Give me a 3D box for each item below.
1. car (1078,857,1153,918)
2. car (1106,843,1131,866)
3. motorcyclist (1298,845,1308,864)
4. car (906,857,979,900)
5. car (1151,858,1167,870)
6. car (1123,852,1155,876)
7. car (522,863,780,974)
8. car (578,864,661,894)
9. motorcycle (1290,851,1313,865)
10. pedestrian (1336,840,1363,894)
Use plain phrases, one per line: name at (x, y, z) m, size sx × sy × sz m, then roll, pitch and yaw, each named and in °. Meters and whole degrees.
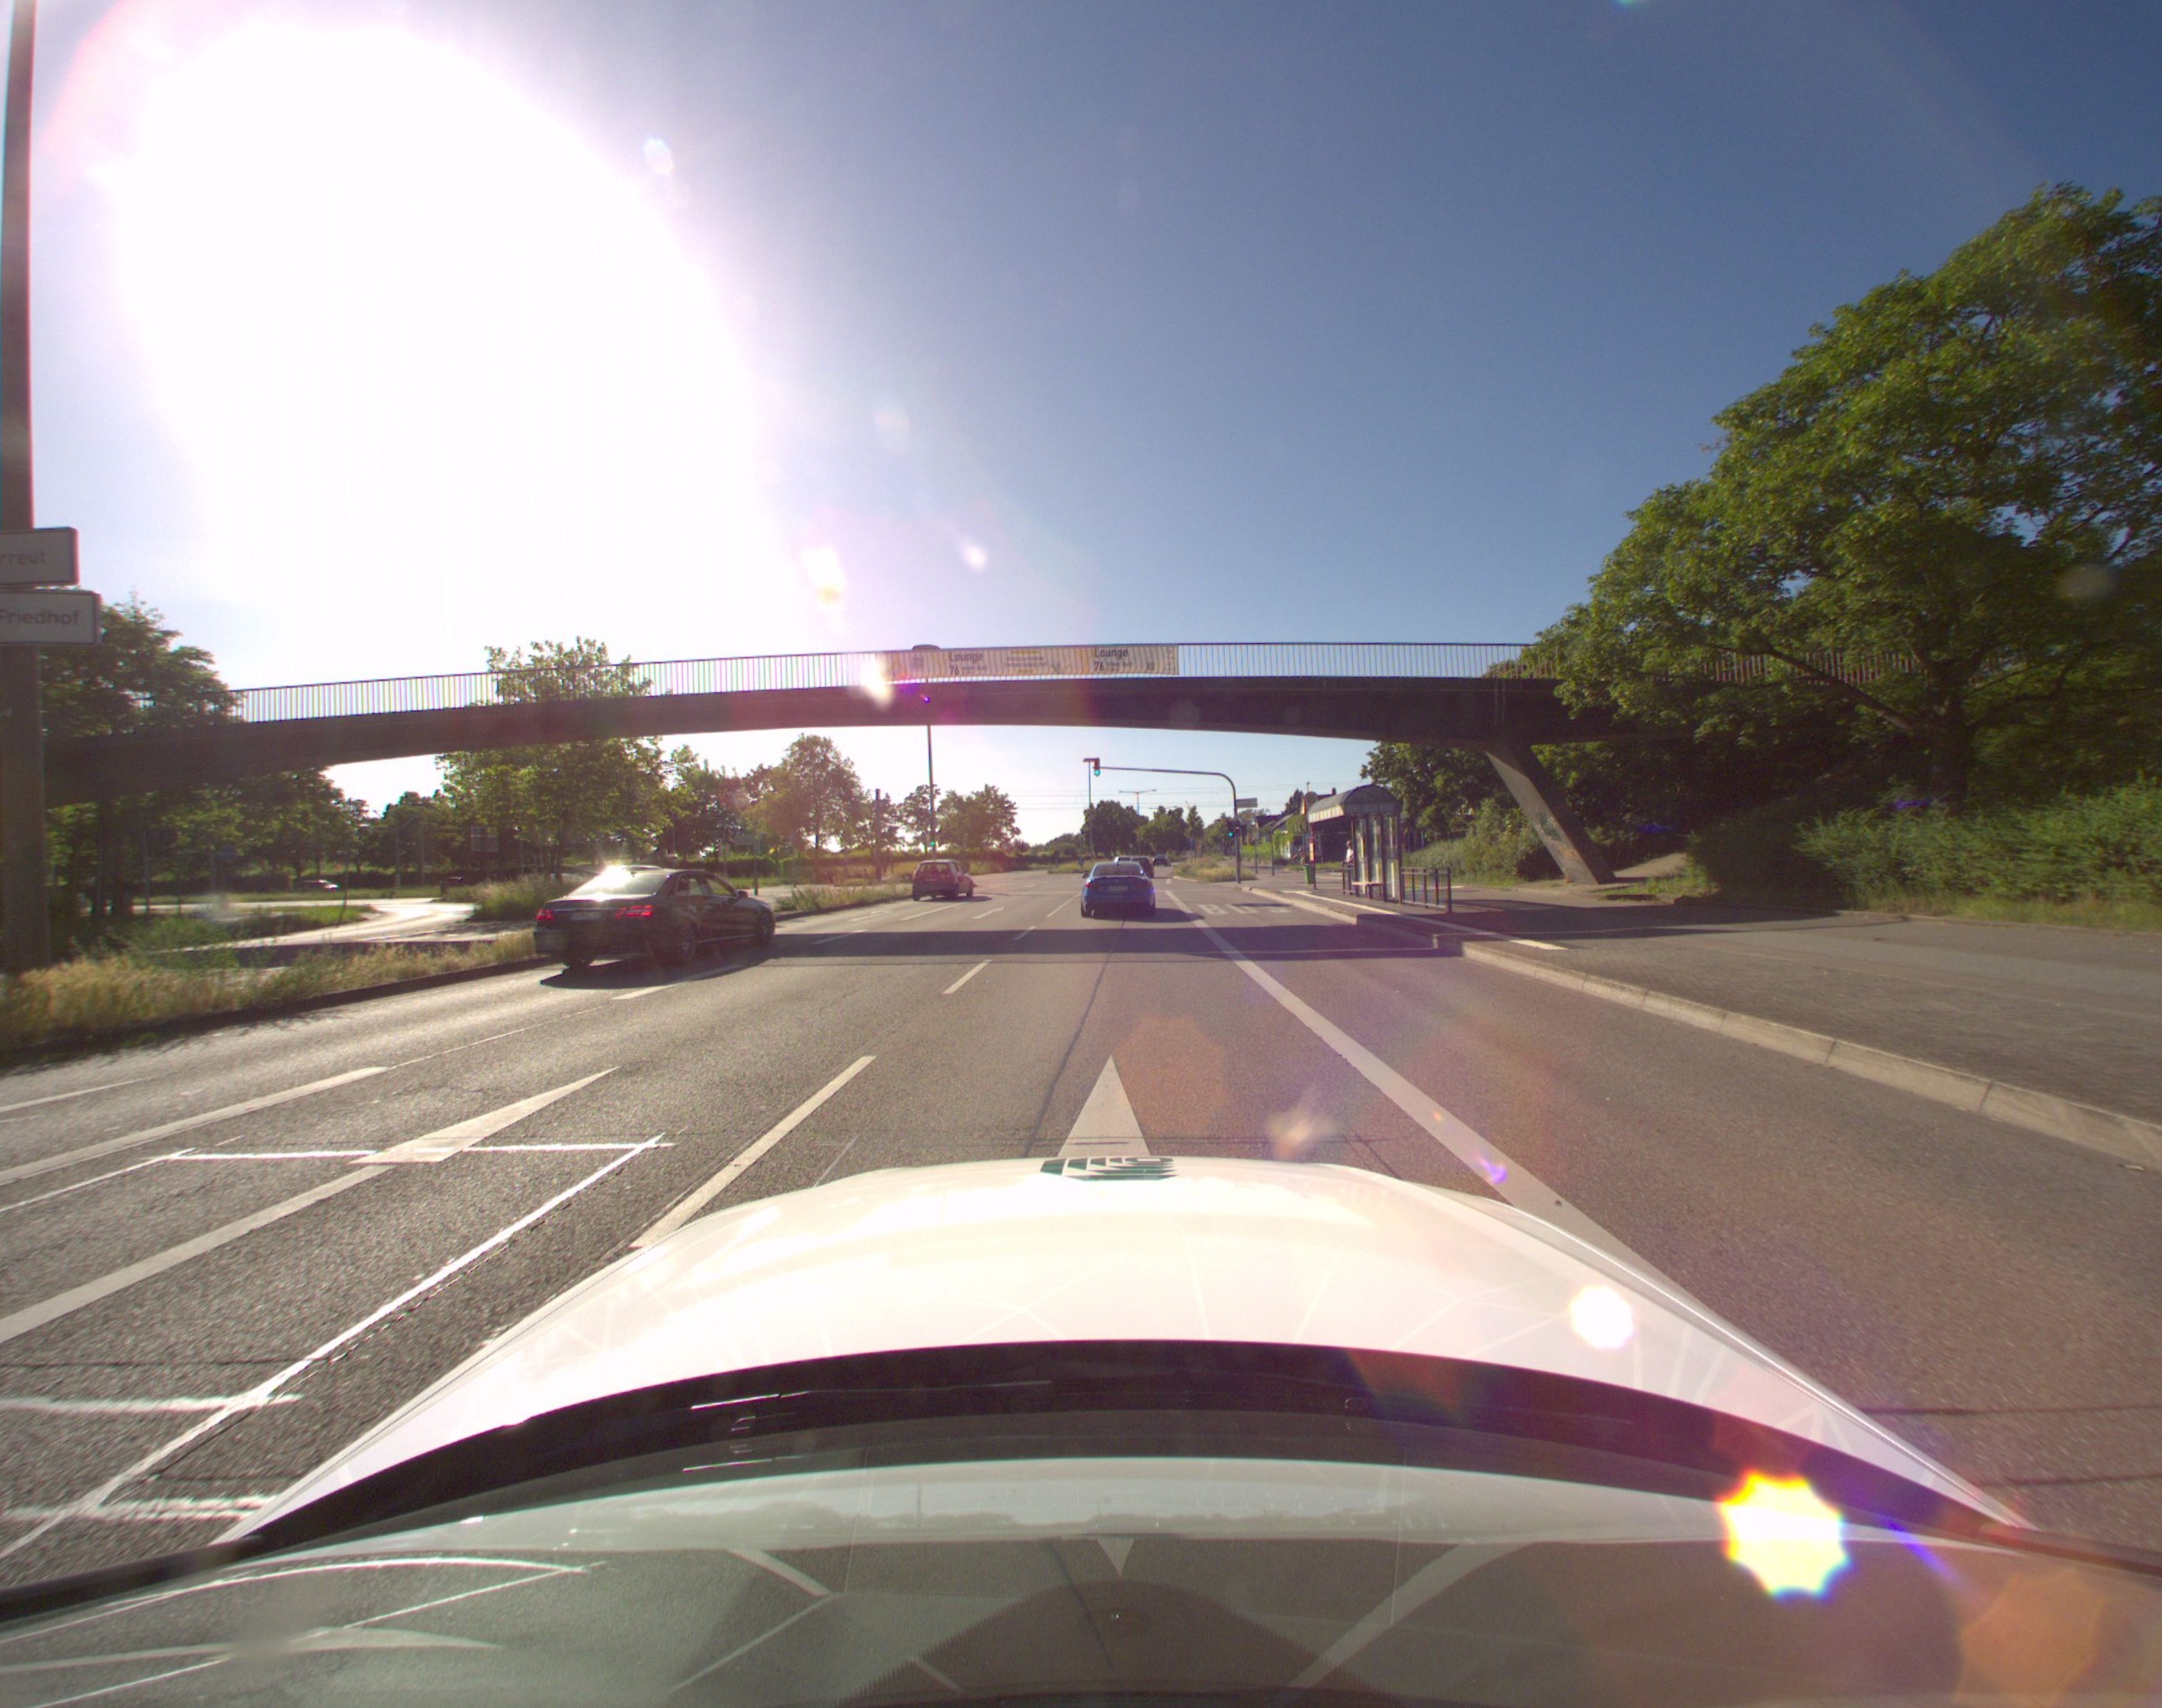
car at (0.998, 0.838, 21.953) m, size 1.830 × 1.474 × 4.189 m, roll -1°, pitch 0°, yaw 4°
car at (3.429, 0.060, 73.506) m, size 1.782 × 2.014 × 4.009 m, roll -1°, pitch -1°, yaw 8°
motorcyclist at (18.788, 0.074, 68.897) m, size 0.689 × 1.558 × 0.702 m, roll -2°, pitch -1°, yaw 10°
car at (-5.530, 0.934, 33.113) m, size 1.833 × 1.571 × 4.393 m, roll -2°, pitch 0°, yaw 5°
car at (9.865, 1.245, 102.492) m, size 1.650 × 1.579 × 3.819 m, roll -1°, pitch -1°, yaw 10°
car at (4.052, 0.684, 56.300) m, size 1.905 × 1.579 × 4.190 m, roll -2°, pitch 0°, yaw 7°
car at (-6.890, 0.937, 13.724) m, size 1.767 × 1.486 × 4.532 m, roll -2°, pitch 0°, yaw 2°
car at (-27.749, 1.484, 49.012) m, size 3.971 × 1.755 × 1.778 m, roll -1°, pitch -1°, yaw 2°
motorcycle at (18.653, 0.342, 68.906) m, size 1.745 × 1.071 × 0.453 m, roll -2°, pitch -1°, yaw 9°
pedestrian at (8.410, 0.399, 25.513) m, size 0.585 × 1.662 × 0.717 m, roll -2°, pitch -1°, yaw 1°
